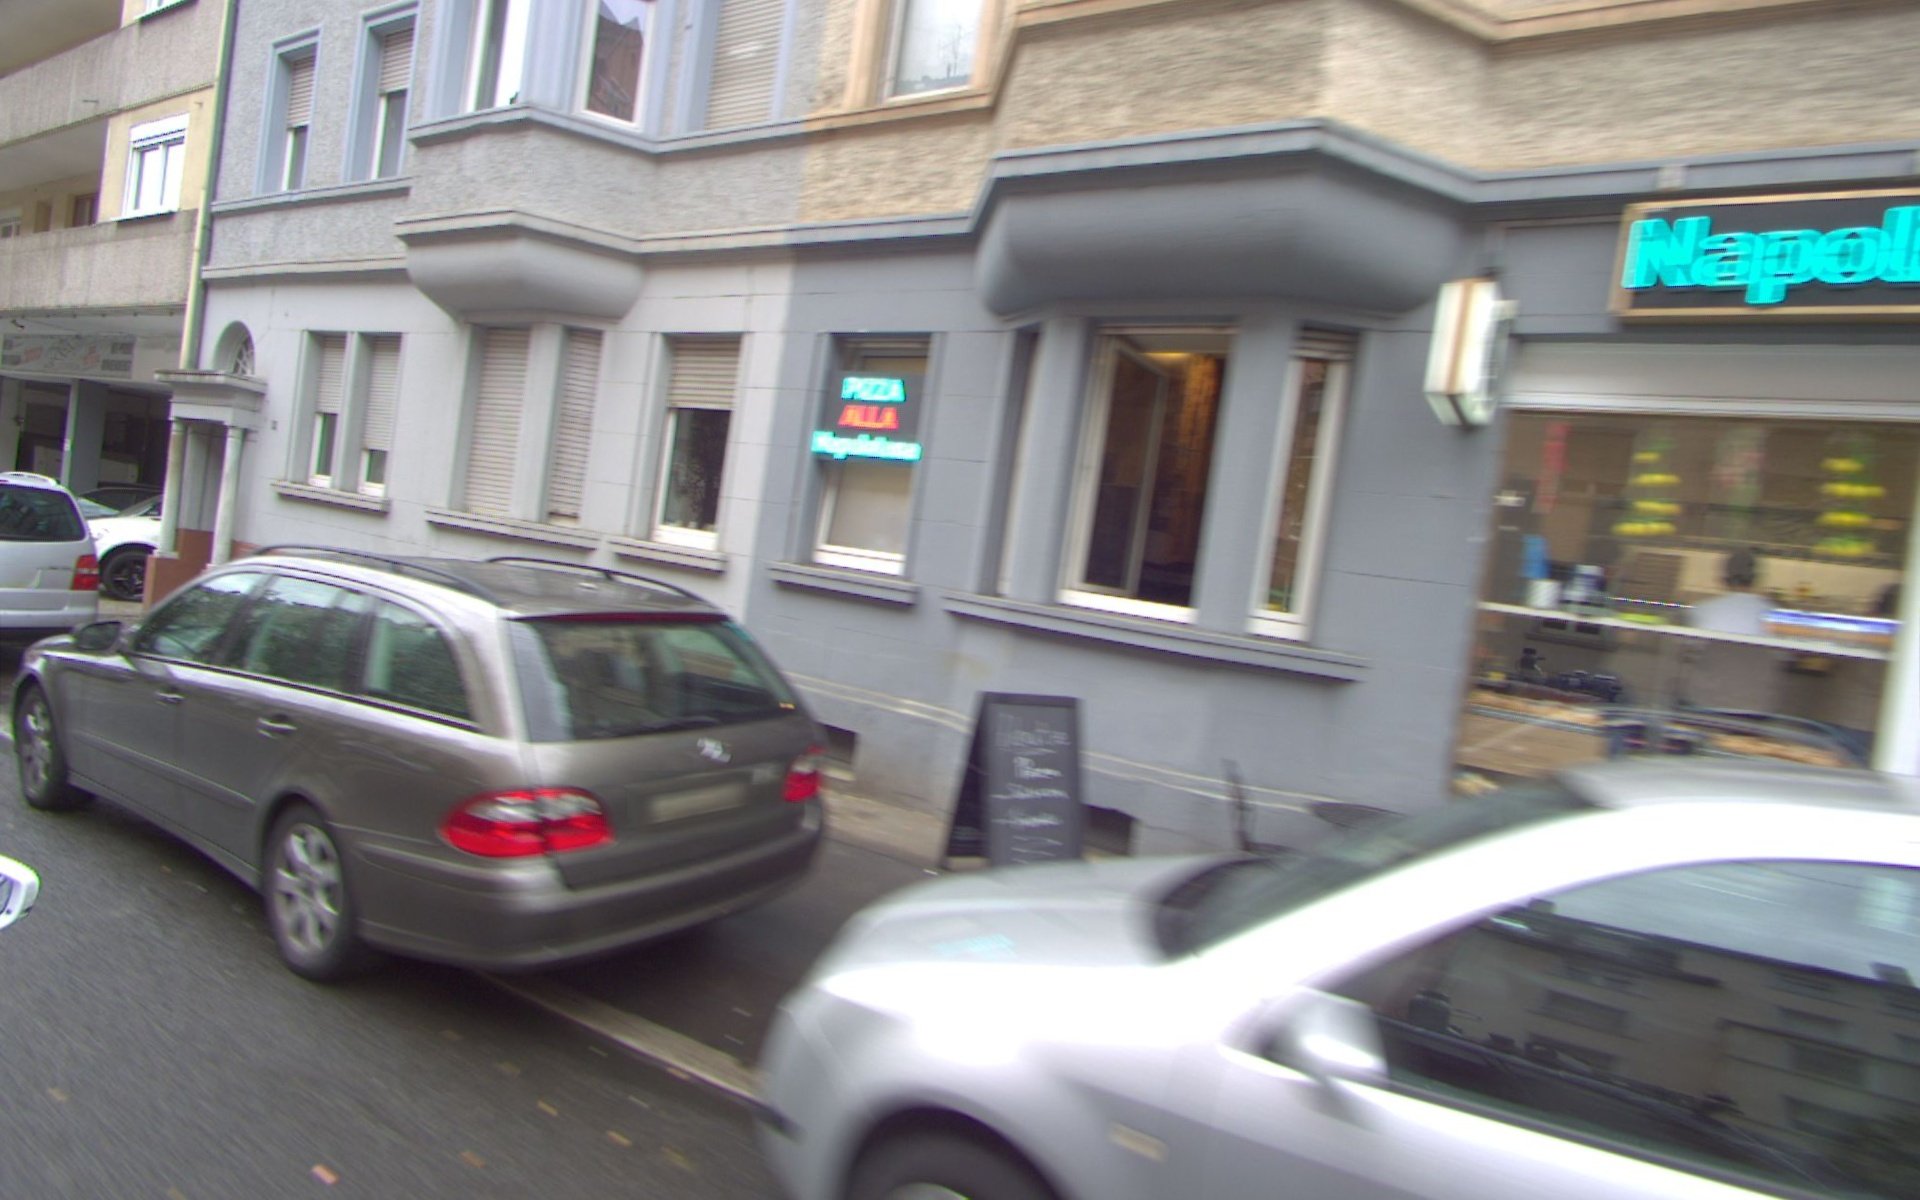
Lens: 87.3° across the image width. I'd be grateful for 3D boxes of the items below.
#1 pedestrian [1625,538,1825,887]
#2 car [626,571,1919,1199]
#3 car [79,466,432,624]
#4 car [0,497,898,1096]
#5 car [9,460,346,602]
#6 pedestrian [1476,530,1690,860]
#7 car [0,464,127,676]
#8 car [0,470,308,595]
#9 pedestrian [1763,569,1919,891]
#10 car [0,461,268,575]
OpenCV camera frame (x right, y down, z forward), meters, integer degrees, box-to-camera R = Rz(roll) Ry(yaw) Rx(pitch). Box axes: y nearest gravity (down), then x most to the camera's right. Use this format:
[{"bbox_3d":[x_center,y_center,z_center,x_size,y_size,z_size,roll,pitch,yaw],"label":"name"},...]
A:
[{"bbox_3d":[3.900,0.542,5.142,0.616,1.641,0.415,8,2,41],"label":"pedestrian"},{"bbox_3d":[1.430,0.957,1.842,3.949,1.492,1.614,7,-1,32],"label":"car"},{"bbox_3d":[-11.145,-0.823,16.120,4.309,1.827,1.983,7,2,-41],"label":"car"},{"bbox_3d":[-2.814,0.453,4.917,4.720,1.498,1.899,7,3,33],"label":"car"},{"bbox_3d":[-13.463,-1.138,17.499,1.883,1.748,4.315,10,2,44],"label":"car"},{"bbox_3d":[3.338,0.490,5.434,0.655,1.641,0.485,6,2,1],"label":"pedestrian"},{"bbox_3d":[-9.438,-0.454,9.028,4.217,1.692,1.726,7,3,32],"label":"car"},{"bbox_3d":[-15.043,-1.213,18.956,1.644,1.661,4.277,10,2,44],"label":"car"},{"bbox_3d":[4.953,0.687,5.499,0.591,1.641,0.417,7,2,15],"label":"pedestrian"},{"bbox_3d":[-17.216,-1.667,20.973,1.644,1.661,4.277,10,2,44],"label":"car"}]
